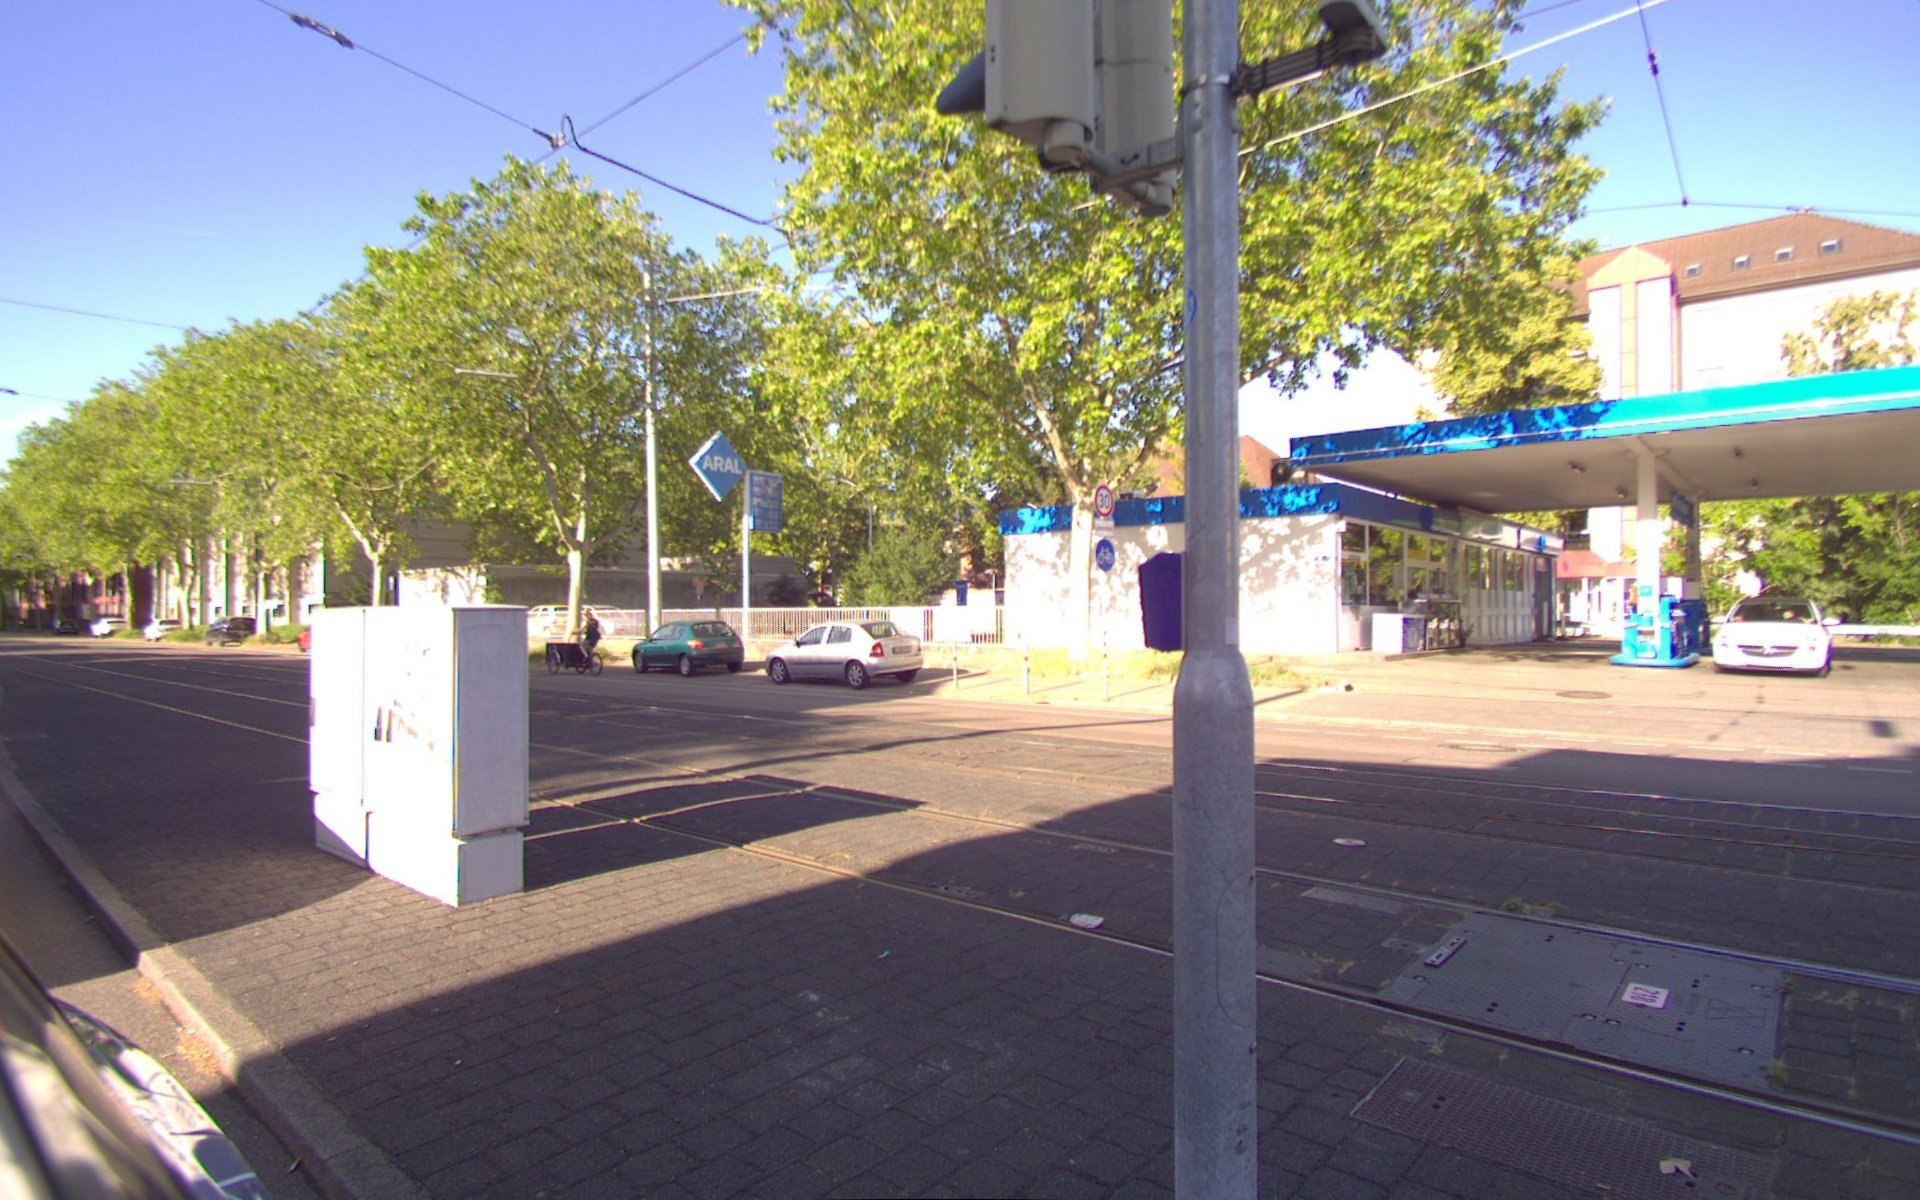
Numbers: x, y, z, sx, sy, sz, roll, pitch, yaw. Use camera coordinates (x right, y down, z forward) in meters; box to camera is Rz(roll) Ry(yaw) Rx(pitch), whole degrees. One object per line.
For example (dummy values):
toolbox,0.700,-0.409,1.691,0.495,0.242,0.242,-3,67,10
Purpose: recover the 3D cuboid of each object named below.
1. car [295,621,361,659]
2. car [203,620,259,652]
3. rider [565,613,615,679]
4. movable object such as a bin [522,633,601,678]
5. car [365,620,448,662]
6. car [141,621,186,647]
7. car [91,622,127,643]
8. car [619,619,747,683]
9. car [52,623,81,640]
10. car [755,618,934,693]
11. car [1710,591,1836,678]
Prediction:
car,-28.701,1.775,45.921,3.377,1.506,1.639,-1,2,43
car,-40.681,1.974,56.465,3.878,1.603,1.731,-1,2,43
rider,-9.656,1.178,26.426,1.104,1.660,0.717,-1,0,36
movable object such as a bin,-10.695,1.463,27.151,1.831,1.111,1.164,-1,0,36
car,-21.860,1.567,39.913,3.769,1.455,1.701,-1,2,43
car,-53.704,2.285,68.236,3.878,1.552,1.731,-1,2,43
car,-66.792,2.501,79.402,3.731,1.471,1.639,-1,2,43
car,-7.417,1.297,26.951,3.606,1.455,1.598,-1,2,43
car,-85.041,3.011,96.321,3.731,1.471,1.639,-1,2,43
car,-2.630,1.188,22.592,3.987,1.376,1.666,-2,3,41
car,15.885,0.601,19.705,1.743,1.446,3.882,-1,1,41
